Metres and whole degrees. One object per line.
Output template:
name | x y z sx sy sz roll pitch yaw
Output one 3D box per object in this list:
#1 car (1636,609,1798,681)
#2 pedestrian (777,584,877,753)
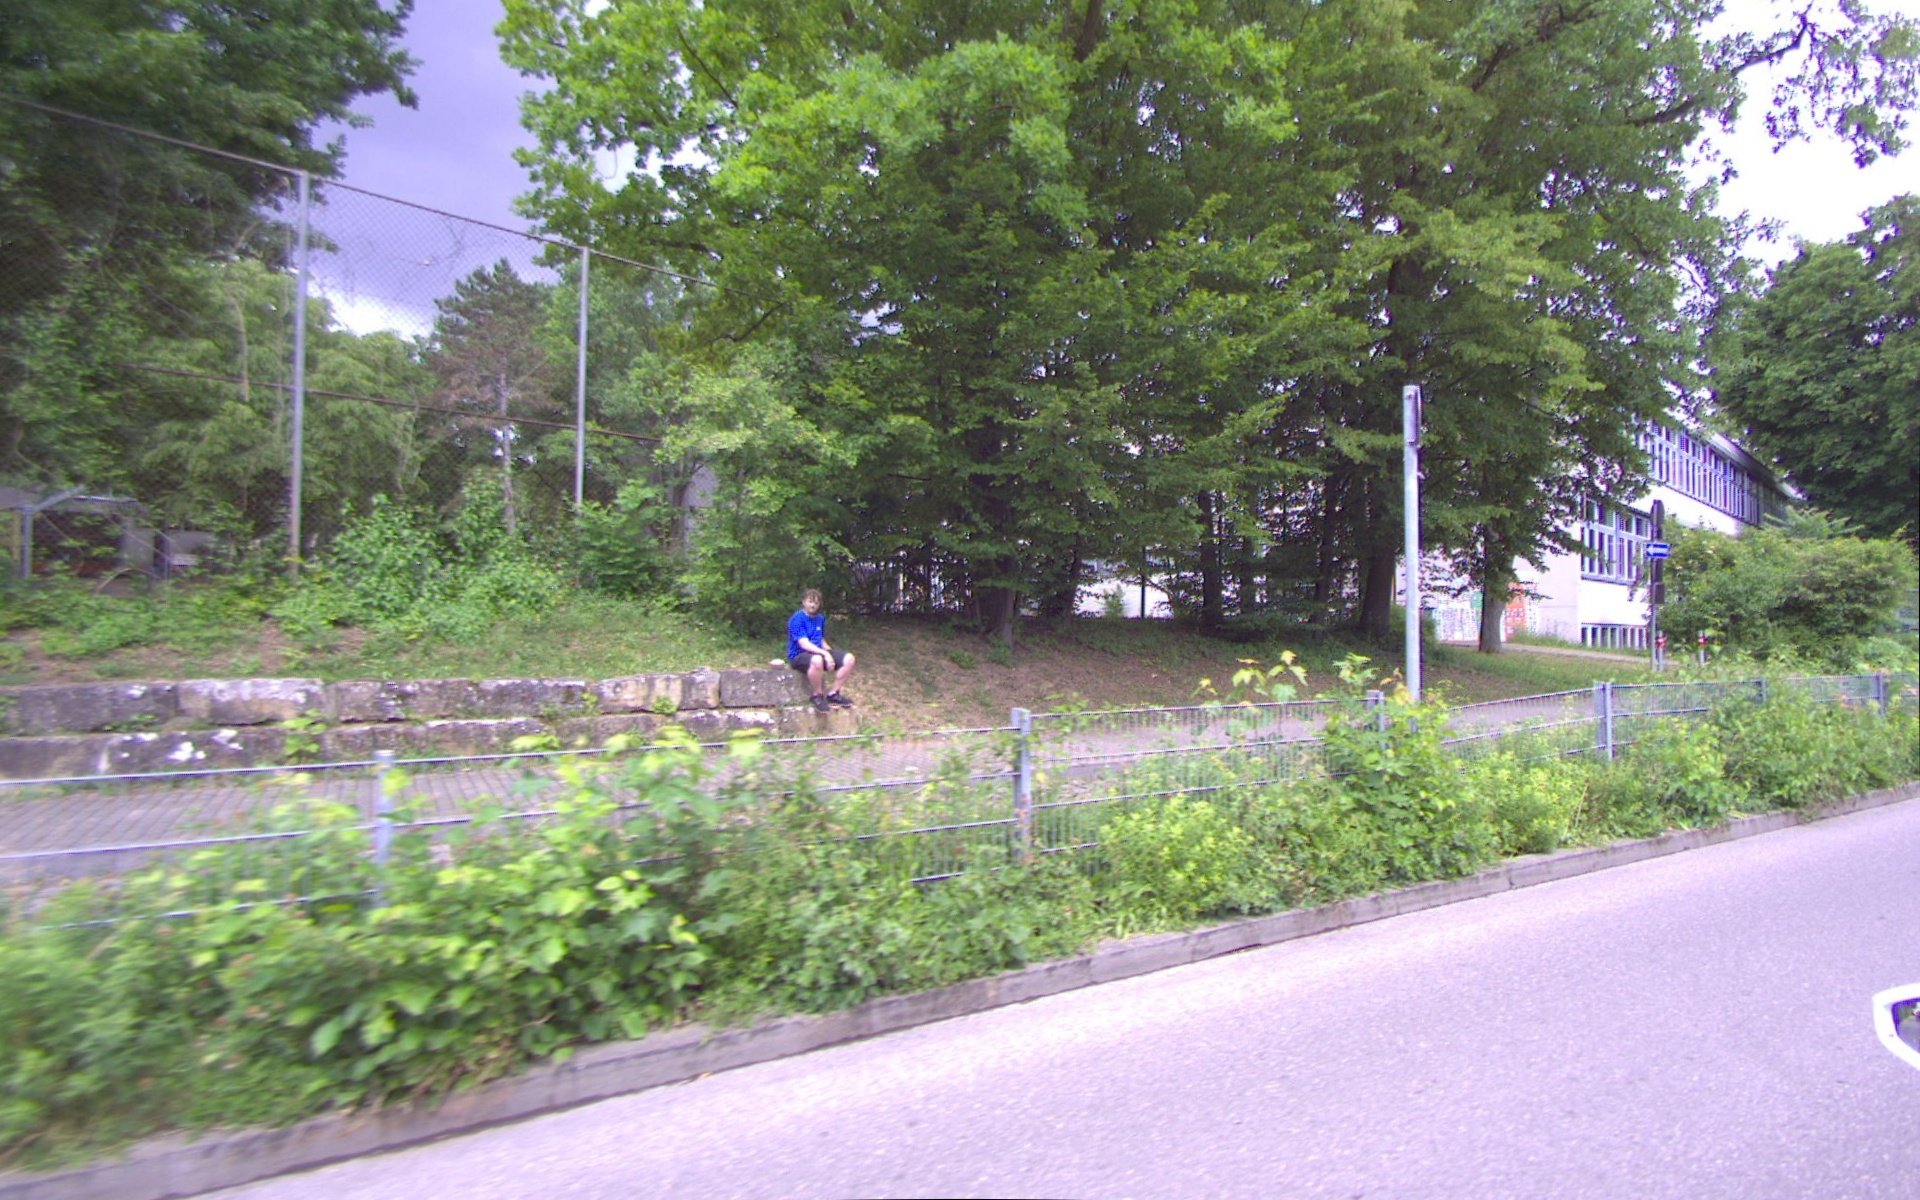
car | 22.630 1.324 30.064 3.937 2.040 1.992 0 -1 -19
pedestrian | -1.402 0.698 10.547 0.800 1.684 0.755 1 -1 -32
